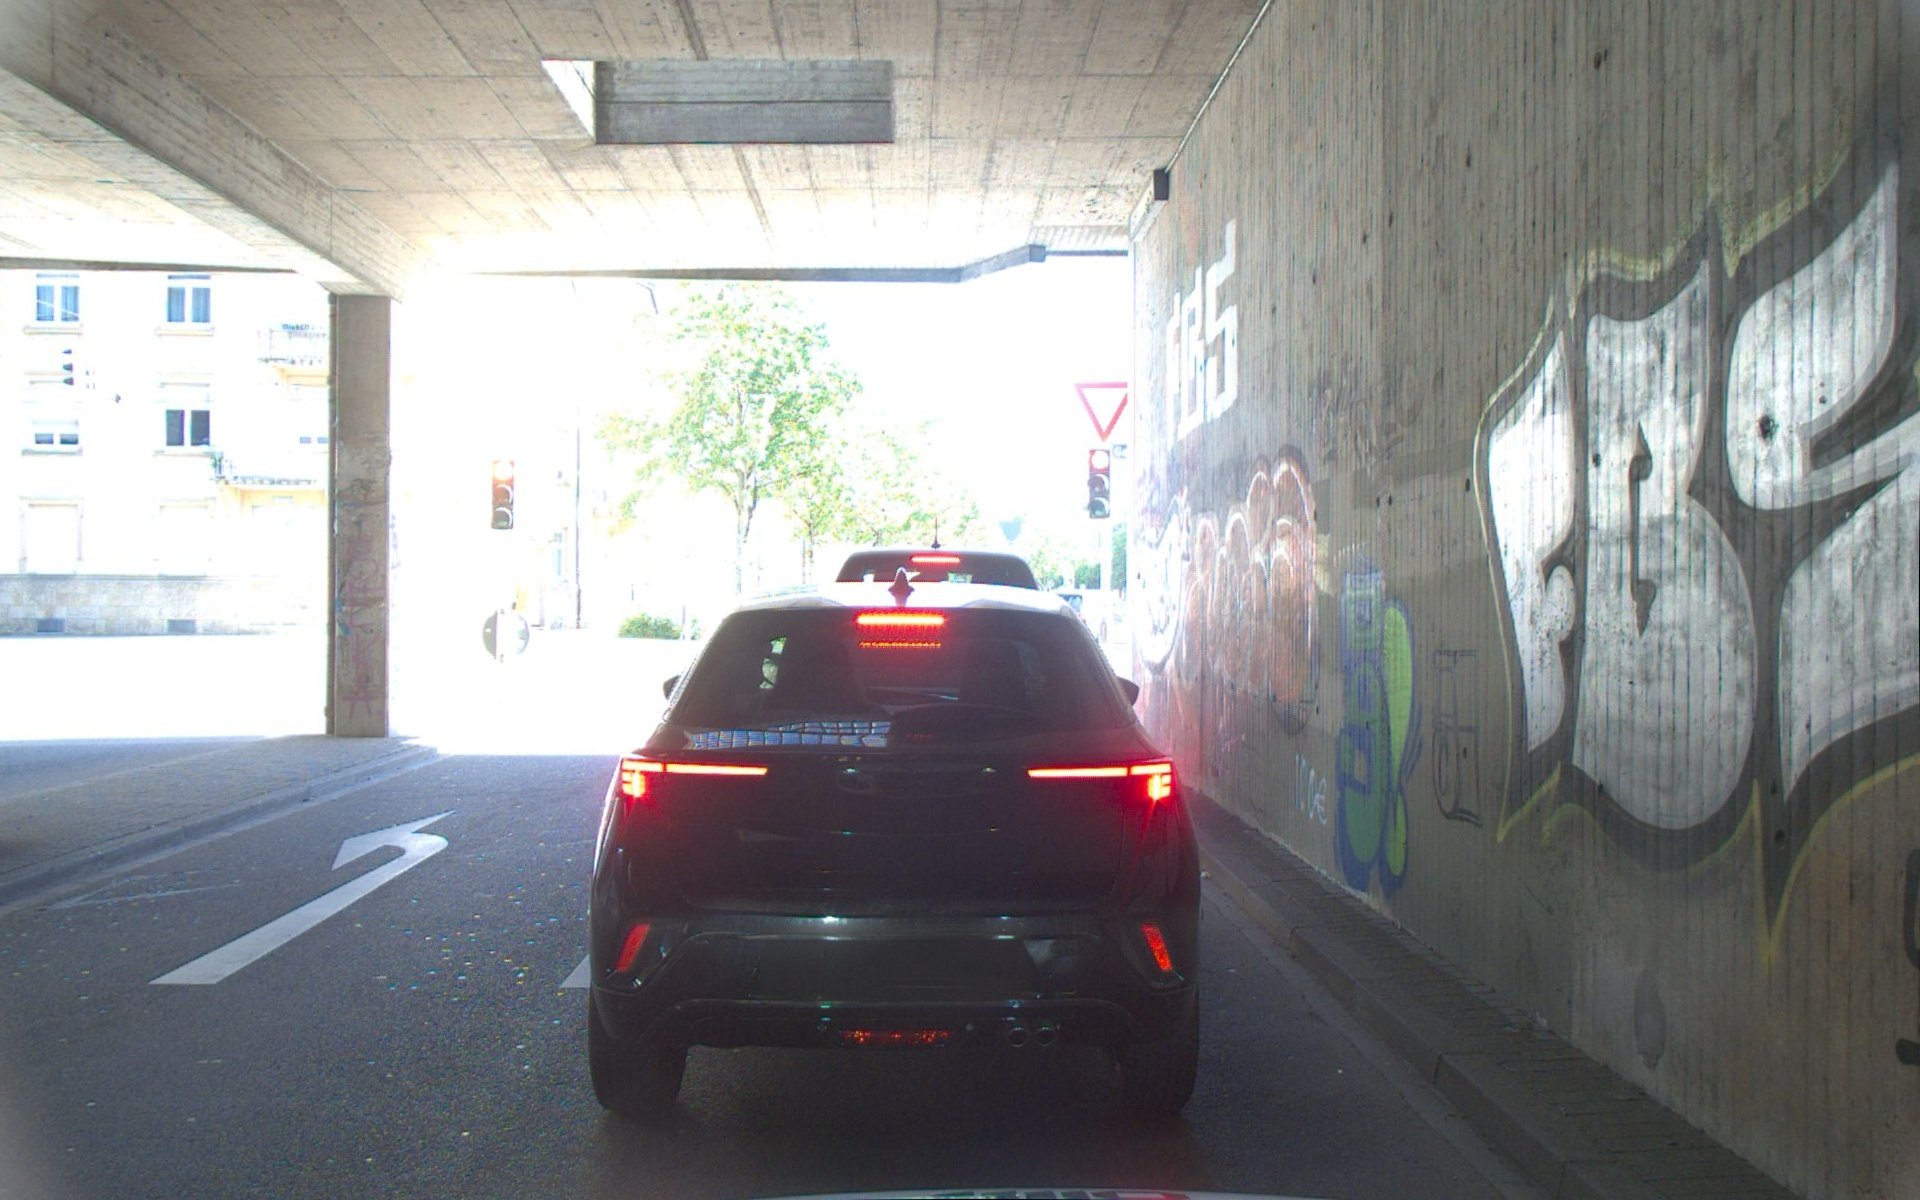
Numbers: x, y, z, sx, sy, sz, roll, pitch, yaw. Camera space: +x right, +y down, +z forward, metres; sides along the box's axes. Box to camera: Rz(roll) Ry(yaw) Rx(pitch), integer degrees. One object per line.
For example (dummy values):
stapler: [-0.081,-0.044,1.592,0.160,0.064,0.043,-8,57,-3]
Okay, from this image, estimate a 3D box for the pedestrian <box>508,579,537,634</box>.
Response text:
pedestrian: [-14.125,0.210,53.389,0.609,1.734,0.724,1,-1,13]

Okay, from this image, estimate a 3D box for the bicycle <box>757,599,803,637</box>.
bicycle: [-5.568,0.549,51.244,0.721,1.150,2.027,0,0,16]

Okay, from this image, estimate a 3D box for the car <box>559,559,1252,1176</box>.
car: [-0.150,0.664,6.163,1.718,1.525,4.000,1,0,-1]

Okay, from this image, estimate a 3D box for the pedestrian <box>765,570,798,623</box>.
pedestrian: [-5.542,-0.096,51.330,0.720,1.612,0.891,1,-1,15]

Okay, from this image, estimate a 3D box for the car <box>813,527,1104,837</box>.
car: [-0.028,0.491,12.069,1.749,1.865,3.960,1,0,-1]

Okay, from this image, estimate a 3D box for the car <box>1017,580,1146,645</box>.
car: [3.158,0.285,42.000,1.953,1.561,4.734,0,0,22]

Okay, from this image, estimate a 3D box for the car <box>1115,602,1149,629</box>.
car: [10.797,0.954,104.058,1.951,1.670,4.595,0,0,4]

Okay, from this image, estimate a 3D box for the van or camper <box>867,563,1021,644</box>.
van or camper: [-0.378,0.082,43.385,3.795,2.049,2.002,0,0,7]
